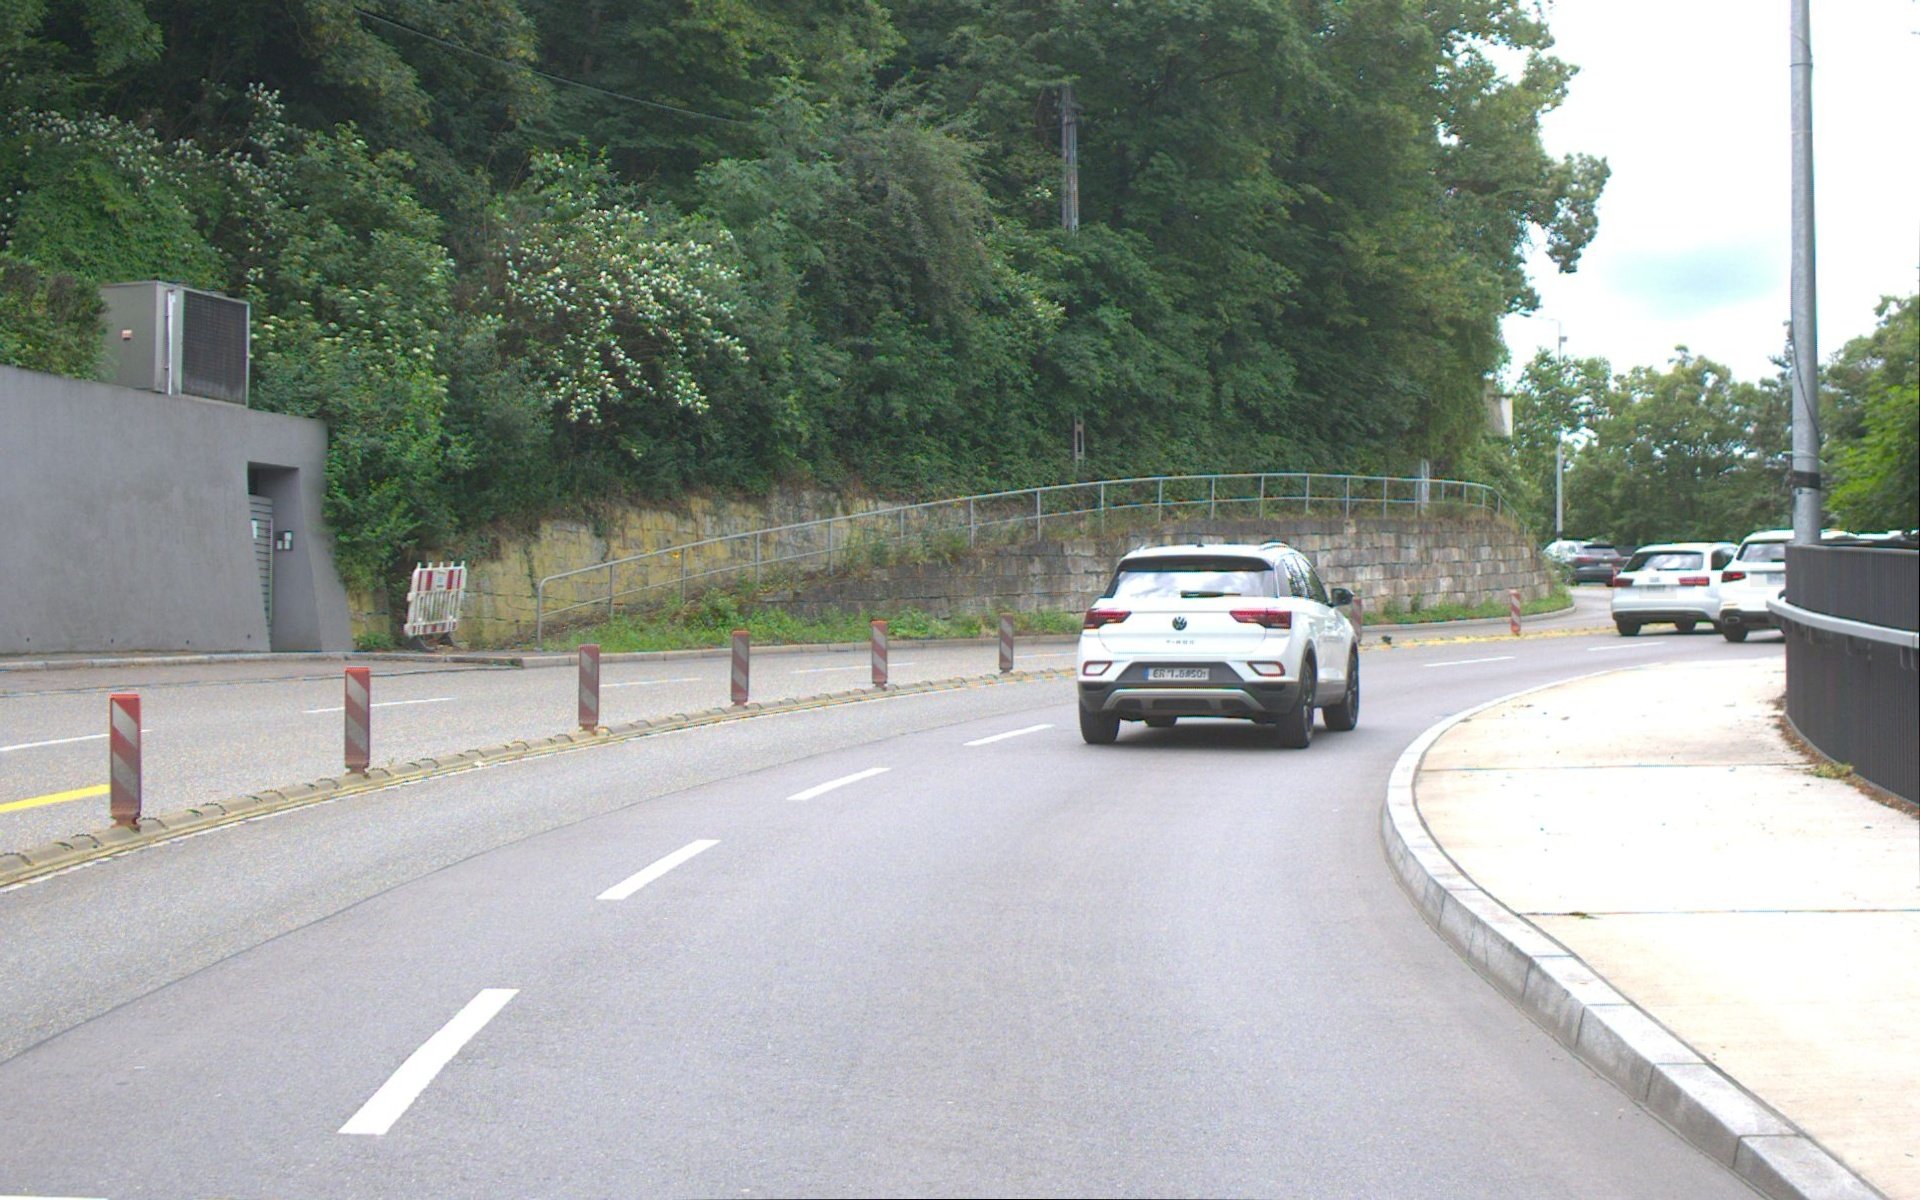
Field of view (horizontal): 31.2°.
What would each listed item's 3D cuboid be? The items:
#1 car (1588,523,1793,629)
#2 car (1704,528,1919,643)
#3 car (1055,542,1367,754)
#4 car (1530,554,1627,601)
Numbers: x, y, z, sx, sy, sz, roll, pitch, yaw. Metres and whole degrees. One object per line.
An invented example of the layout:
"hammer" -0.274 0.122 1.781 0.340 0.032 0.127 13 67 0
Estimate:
"car" 11.876 -0.368 55.733 1.910 1.568 3.992 3 1 33
"car" 12.867 -0.195 51.274 1.998 1.581 3.992 3 1 35
"car" 2.083 0.321 27.525 1.868 1.531 3.801 1 1 13
"car" 22.081 -0.817 122.825 1.906 1.568 4.001 2 1 -14
